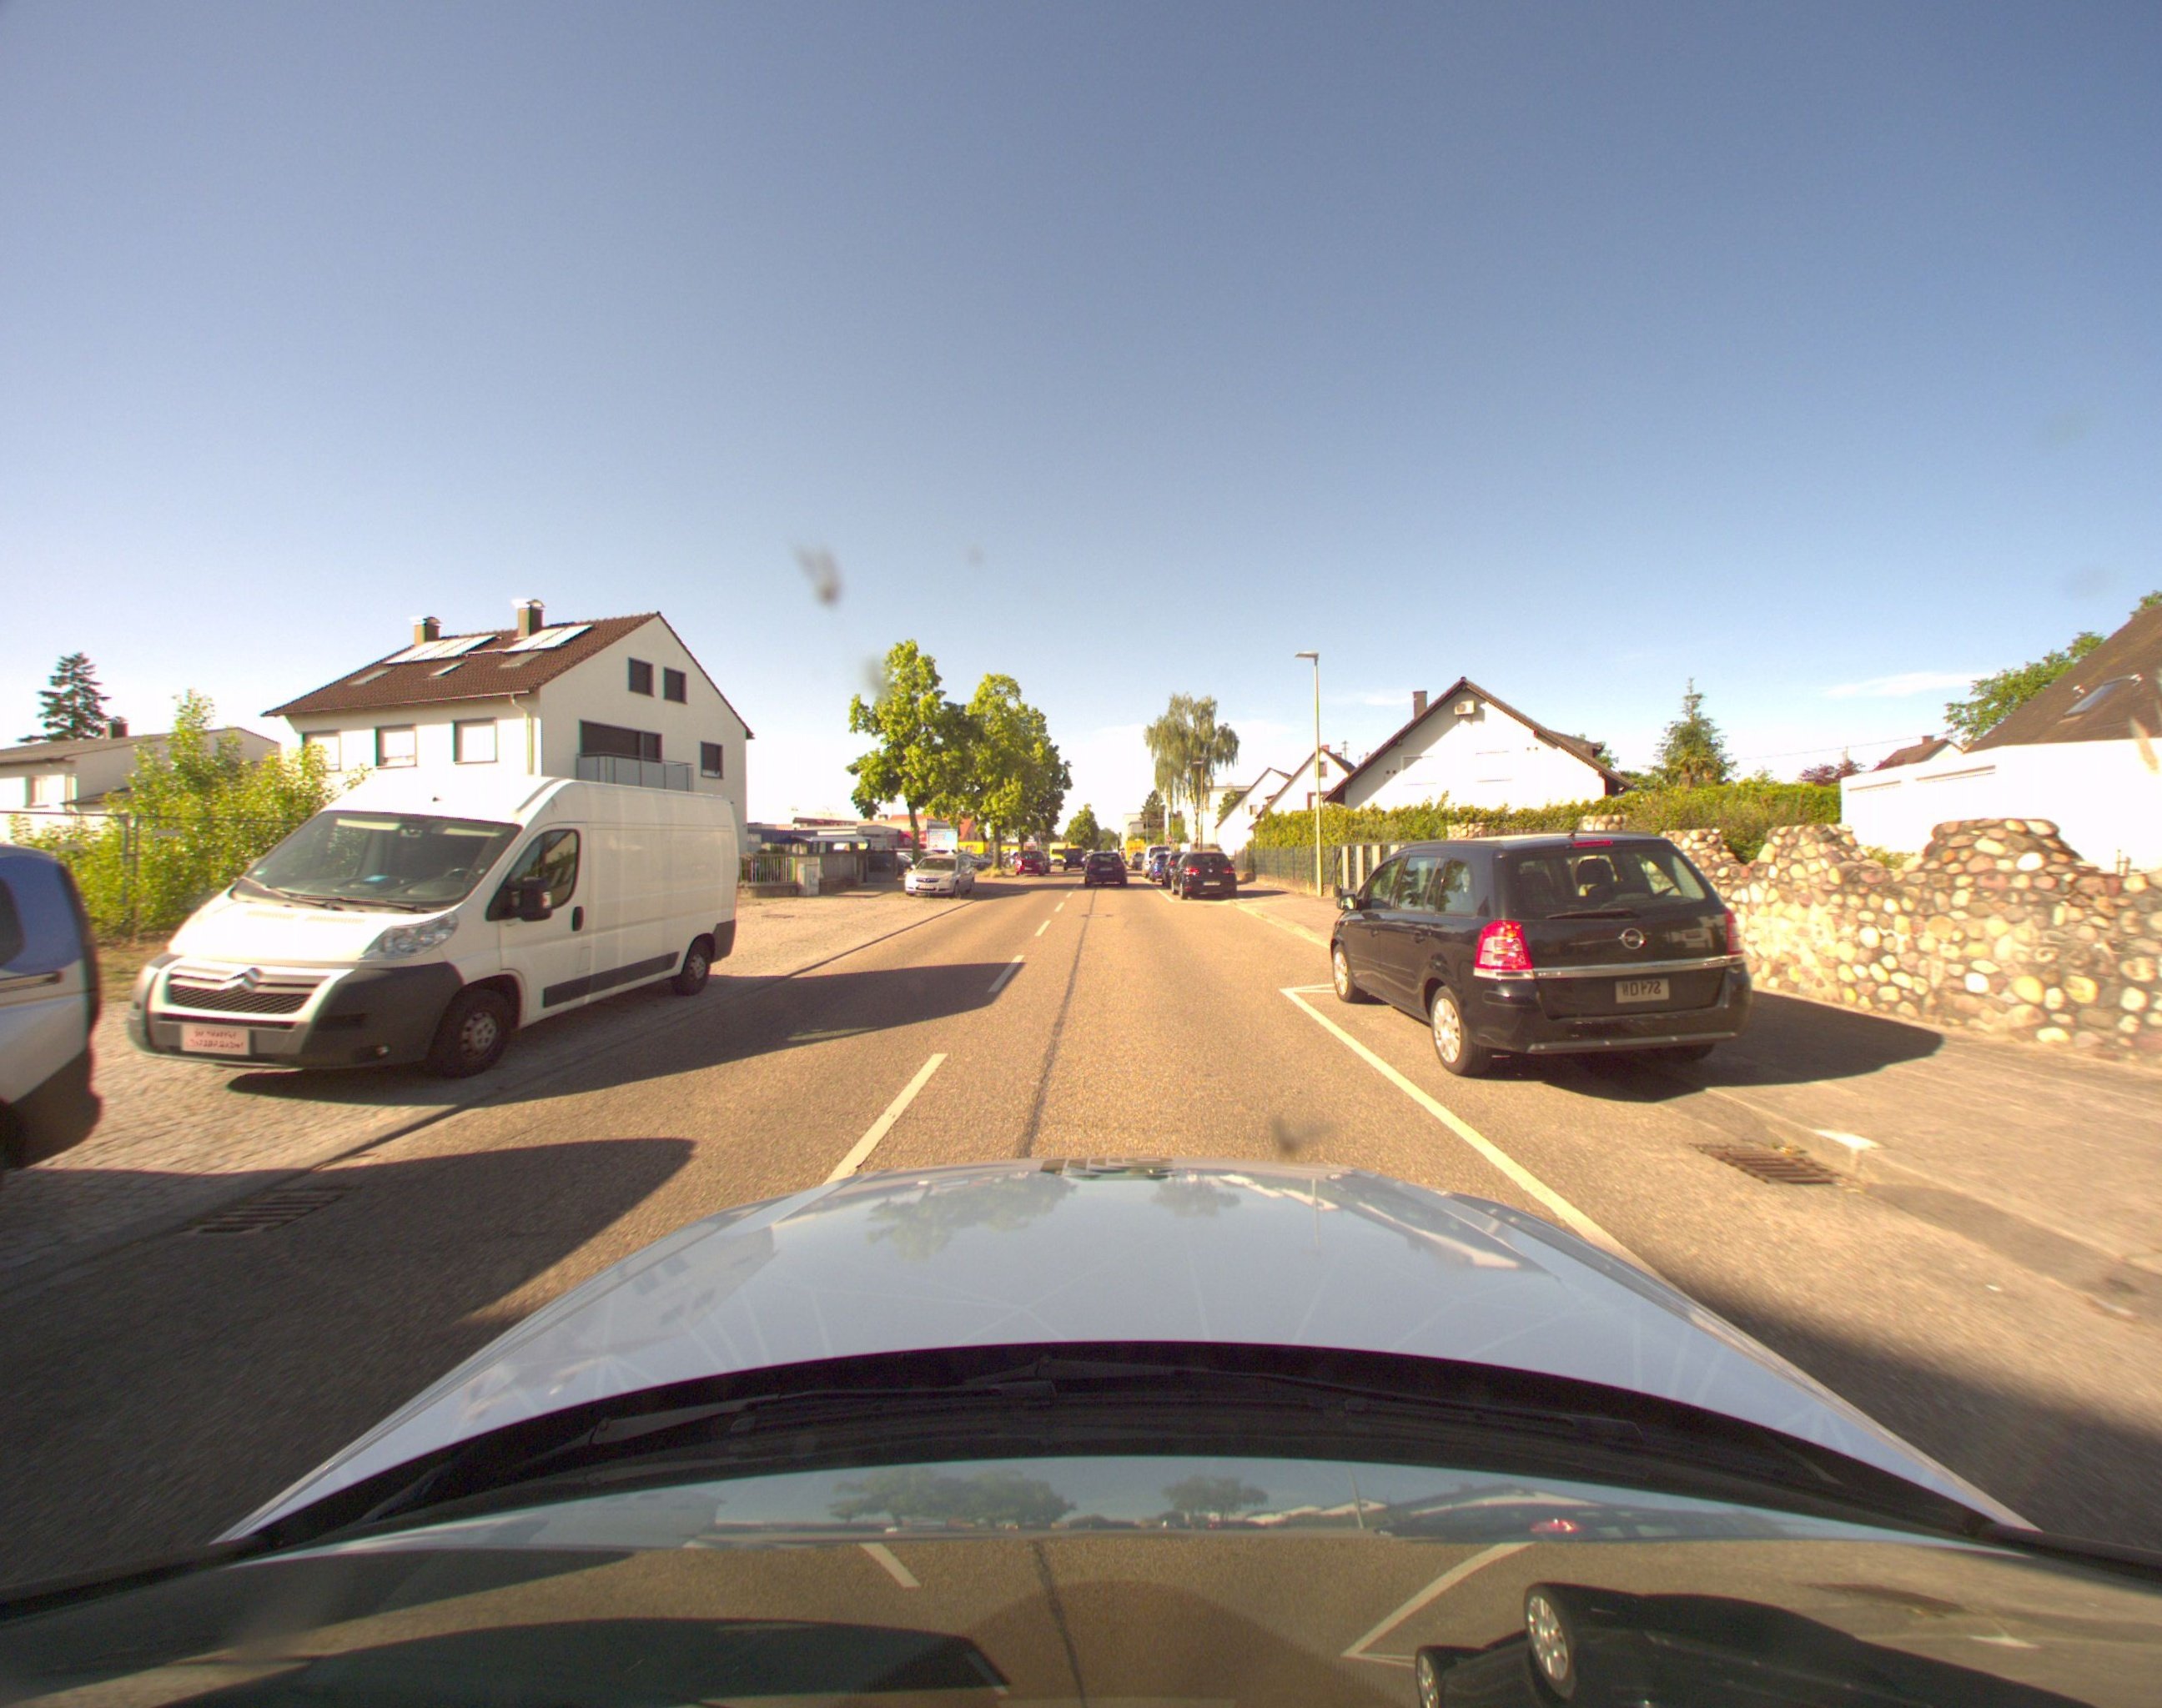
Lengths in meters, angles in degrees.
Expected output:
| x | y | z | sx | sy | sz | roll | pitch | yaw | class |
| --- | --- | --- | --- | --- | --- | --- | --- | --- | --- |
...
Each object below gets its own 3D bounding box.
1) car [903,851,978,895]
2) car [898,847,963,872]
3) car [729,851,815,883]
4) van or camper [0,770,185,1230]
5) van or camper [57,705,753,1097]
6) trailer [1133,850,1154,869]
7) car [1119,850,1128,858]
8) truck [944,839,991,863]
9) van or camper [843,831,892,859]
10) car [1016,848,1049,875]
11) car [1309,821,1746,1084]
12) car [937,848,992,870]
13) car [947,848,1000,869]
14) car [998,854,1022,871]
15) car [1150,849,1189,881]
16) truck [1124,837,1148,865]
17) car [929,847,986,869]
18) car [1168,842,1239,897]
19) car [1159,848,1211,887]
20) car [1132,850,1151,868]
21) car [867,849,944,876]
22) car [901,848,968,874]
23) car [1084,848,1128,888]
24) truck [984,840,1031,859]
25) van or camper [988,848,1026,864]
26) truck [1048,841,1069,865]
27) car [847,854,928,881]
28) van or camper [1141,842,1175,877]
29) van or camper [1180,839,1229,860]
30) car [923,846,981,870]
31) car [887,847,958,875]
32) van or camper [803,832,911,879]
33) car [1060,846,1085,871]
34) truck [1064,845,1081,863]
| x | y | z | sx | sy | sz | roll | pitch | yaw | class |
| --- | --- | --- | --- | --- | --- | --- | --- | --- | --- |
| -5.001 | 0.620 | 29.484 | 1.679 | 1.435 | 4.213 | 2 | 0 | 4 | car |
| -10.974 | 0.388 | 59.440 | 4.225 | 1.728 | 1.769 | -1 | 0 | 7 | car |
| -16.208 | 0.718 | 42.767 | 3.953 | 1.579 | 1.685 | -1 | -2 | 15 | car |
| -5.700 | 0.612 | 2.095 | 1.870 | 2.013 | 4.282 | 2 | 0 | 2 | van or camper |
| -5.556 | 0.293 | 8.122 | 2.115 | 2.490 | 5.557 | 2 | 0 | 1 | van or camper |
| 5.229 | 0.484 | 68.436 | 1.620 | 1.538 | 3.200 | -1 | 0 | 3 | trailer |
| 8.969 | 0.017 | 172.829 | 1.911 | 1.825 | 4.082 | -1 | 0 | 2 | car |
| -15.248 | -0.369 | 109.189 | 5.629 | 3.119 | 2.532 | 1 | 0 | 13 | truck |
| -21.754 | -0.852 | 83.189 | 2.150 | 2.715 | 6.291 | -1 | 0 | 12 | van or camper |
| -3.346 | 0.501 | 56.925 | 1.796 | 1.752 | 4.344 | 1 | 0 | 2 | car |
| 3.426 | 0.615 | 7.317 | 1.768 | 1.659 | 4.307 | 0 | 0 | 3 | car |
| -9.784 | 0.396 | 68.687 | 4.225 | 1.728 | 1.769 | -1 | 0 | 7 | car |
| -9.417 | 0.390 | 71.206 | 4.225 | 1.728 | 1.769 | -1 | 0 | 7 | car |
| -7.004 | 0.867 | 80.282 | 1.855 | 1.590 | 4.277 | -1 | -2 | 1 | car |
| 4.339 | 0.521 | 40.309 | 1.712 | 1.505 | 3.565 | 0 | 0 | 2 | car |
| 6.216 | -0.263 | 92.547 | 2.394 | 2.936 | 7.019 | -3 | 0 | 2 | truck |
| -10.101 | 0.334 | 66.550 | 4.225 | 1.728 | 1.769 | -1 | 0 | 7 | car |
| 3.893 | 0.459 | 26.432 | 1.770 | 1.659 | 3.816 | 0 | 0 | 0 | car |
| 4.253 | 0.521 | 33.766 | 1.713 | 1.505 | 3.907 | 0 | 0 | 1 | car |
| 5.538 | 0.447 | 73.988 | 1.666 | 1.542 | 4.049 | 0 | 0 | 5 | car |
| -10.808 | 0.506 | 50.346 | 4.227 | 1.541 | 1.769 | -1 | 1 | 6 | car |
| -10.248 | 0.462 | 57.029 | 4.225 | 1.728 | 1.769 | -1 | 0 | 7 | car |
| 1.094 | 0.550 | 34.325 | 1.704 | 1.532 | 3.690 | -1 | 0 | 3 | car |
| -10.062 | -0.629 | 111.248 | 5.880 | 2.567 | 2.232 | 1 | 0 | 13 | truck |
| -9.792 | 0.243 | 108.301 | 4.517 | 2.013 | 2.256 | -1 | 0 | 8 | van or camper |
| -2.785 | -0.107 | 102.725 | 2.394 | 2.983 | 7.246 | 1 | 0 | 1 | truck |
| -11.329 | 0.793 | 47.866 | 4.225 | 1.542 | 1.769 | 0 | 0 | 7 | car |
| 4.371 | 0.309 | 46.517 | 1.712 | 1.890 | 4.182 | 0 | 0 | 2 | van or camper |
| 15.844 | -0.583 | 104.284 | 5.840 | 2.541 | 2.272 | -1 | 0 | -24 | van or camper |
| -10.158 | 0.307 | 64.320 | 4.230 | 1.728 | 1.767 | -1 | 0 | 3 | car |
| -10.489 | 0.441 | 54.144 | 4.228 | 1.752 | 1.768 | -1 | 0 | 5 | car |
| -11.516 | 0.079 | 41.945 | 4.857 | 2.320 | 2.252 | 0 | -1 | 14 | van or camper |
| -0.680 | 0.356 | 71.356 | 1.887 | 2.031 | 4.820 | -3 | 0 | 2 | car |
| -1.354 | 0.038 | 135.980 | 2.393 | 2.983 | 6.377 | 1 | 0 | 2 | truck |
